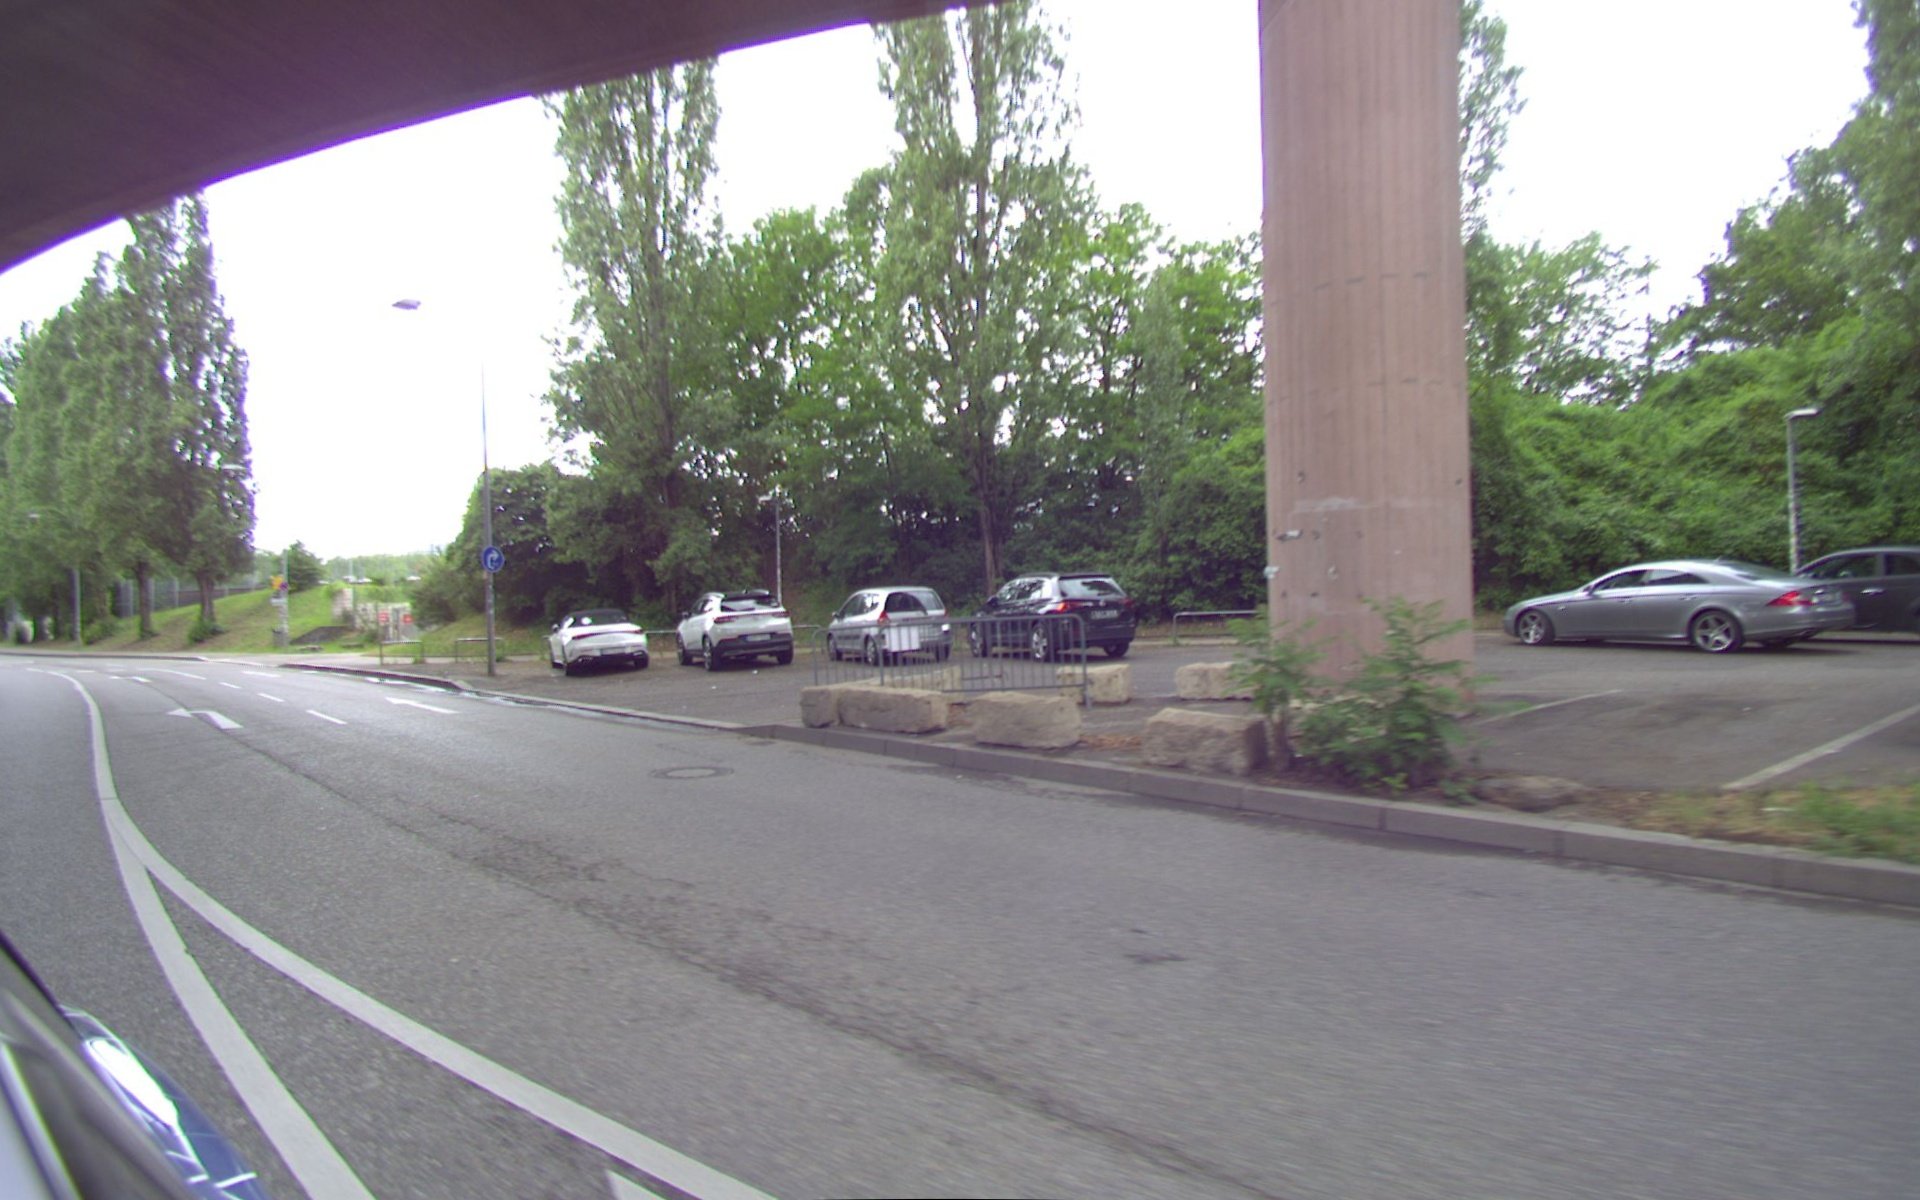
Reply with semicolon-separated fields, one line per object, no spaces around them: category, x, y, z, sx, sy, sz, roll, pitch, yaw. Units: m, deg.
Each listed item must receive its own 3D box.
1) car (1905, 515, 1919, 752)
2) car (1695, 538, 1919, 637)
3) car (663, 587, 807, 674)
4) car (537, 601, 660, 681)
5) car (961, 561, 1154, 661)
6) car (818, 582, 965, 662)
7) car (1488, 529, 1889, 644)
car;8.814;0.083;7.384;4.323;1.618;1.959;-4;1;-36
car;14.241;-0.146;16.112;1.621;1.452;3.746;0;-2;-31
car;-5.140;0.597;22.646;1.966;1.594;4.414;-6;3;-27
car;-8.804;0.891;24.368;1.966;1.490;4.844;-5;3;-28
car;1.753;0.204;19.734;1.831;1.704;4.178;-2;0;-25
car;-1.526;0.439;21.033;1.761;1.465;3.759;-1;0;-25
car;11.362;-0.140;16.295;1.831;1.499;4.904;-4;0;-25
